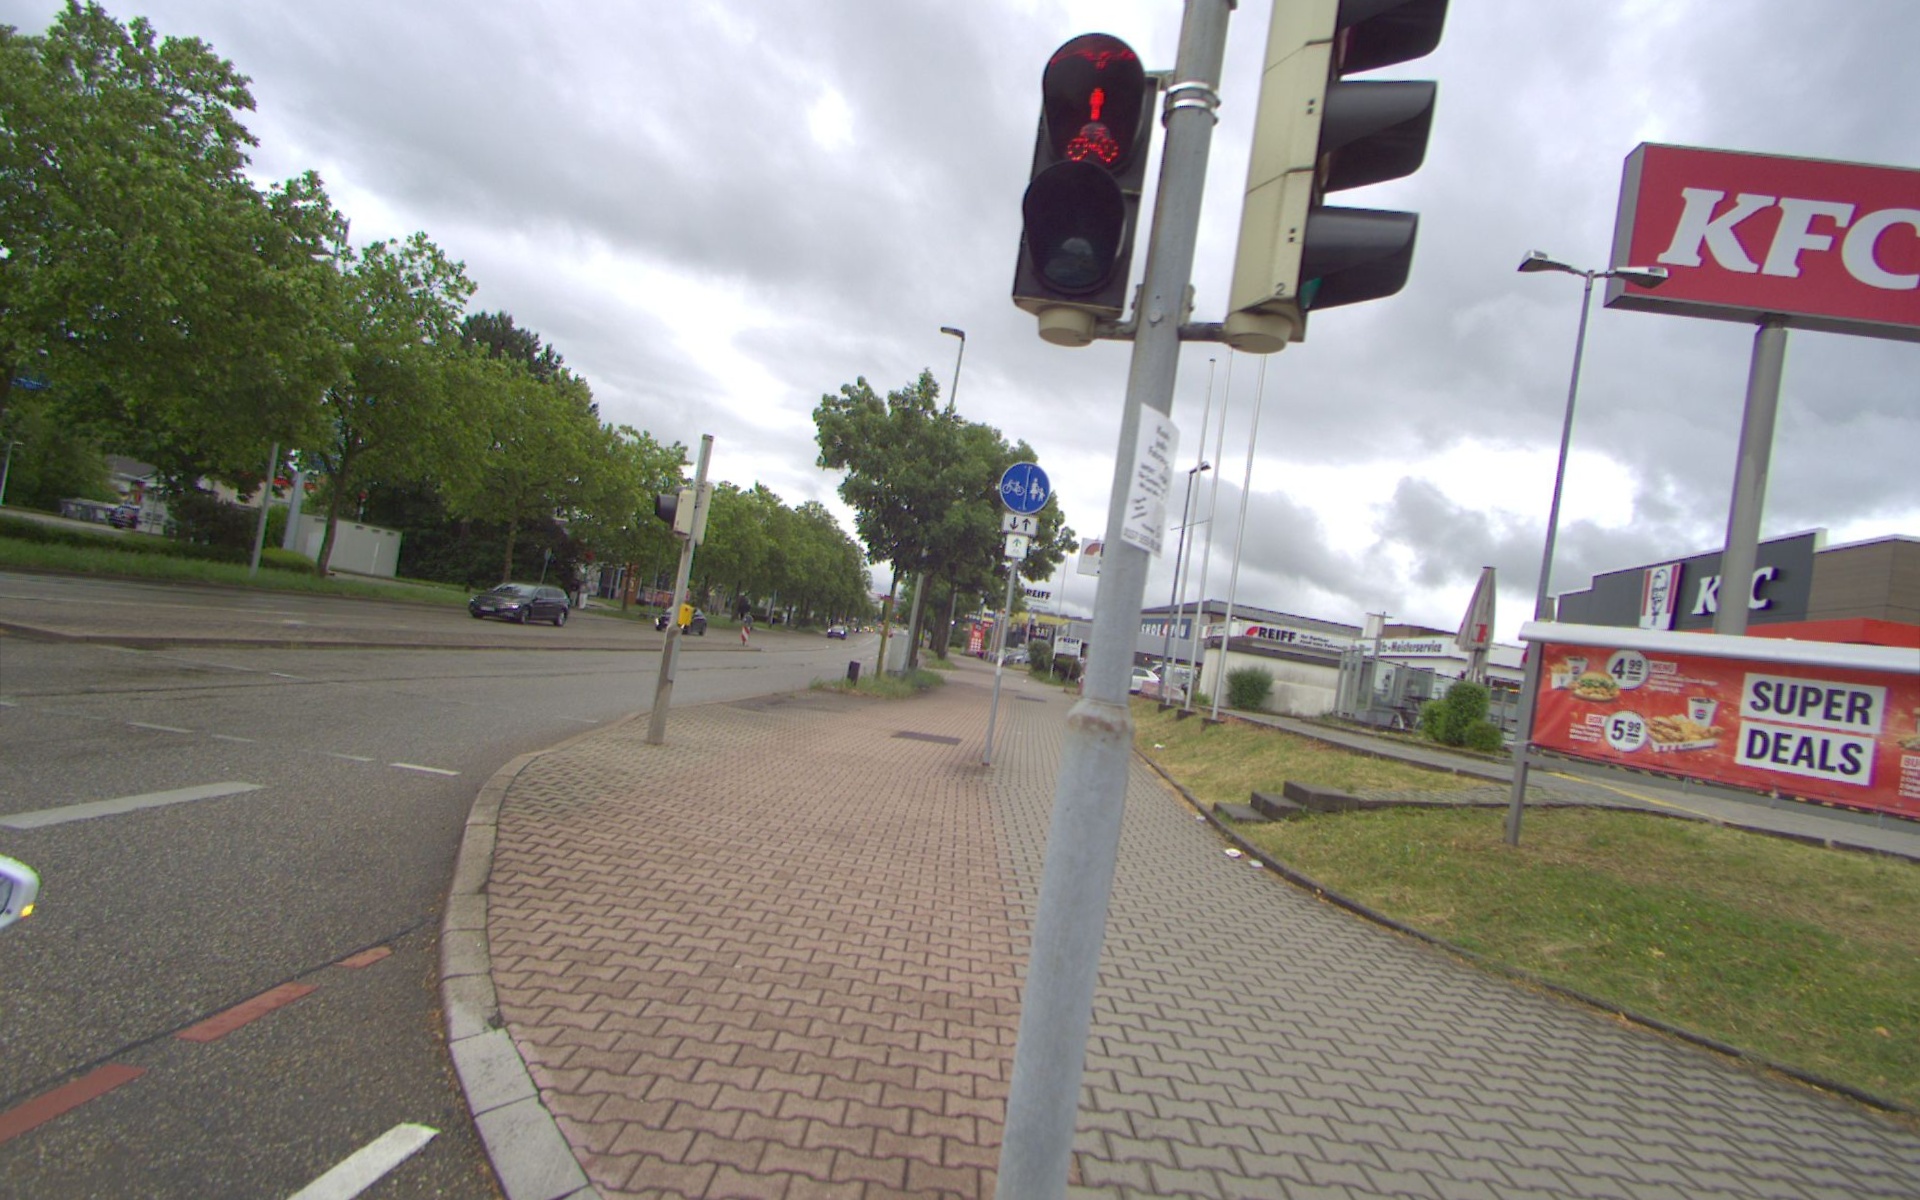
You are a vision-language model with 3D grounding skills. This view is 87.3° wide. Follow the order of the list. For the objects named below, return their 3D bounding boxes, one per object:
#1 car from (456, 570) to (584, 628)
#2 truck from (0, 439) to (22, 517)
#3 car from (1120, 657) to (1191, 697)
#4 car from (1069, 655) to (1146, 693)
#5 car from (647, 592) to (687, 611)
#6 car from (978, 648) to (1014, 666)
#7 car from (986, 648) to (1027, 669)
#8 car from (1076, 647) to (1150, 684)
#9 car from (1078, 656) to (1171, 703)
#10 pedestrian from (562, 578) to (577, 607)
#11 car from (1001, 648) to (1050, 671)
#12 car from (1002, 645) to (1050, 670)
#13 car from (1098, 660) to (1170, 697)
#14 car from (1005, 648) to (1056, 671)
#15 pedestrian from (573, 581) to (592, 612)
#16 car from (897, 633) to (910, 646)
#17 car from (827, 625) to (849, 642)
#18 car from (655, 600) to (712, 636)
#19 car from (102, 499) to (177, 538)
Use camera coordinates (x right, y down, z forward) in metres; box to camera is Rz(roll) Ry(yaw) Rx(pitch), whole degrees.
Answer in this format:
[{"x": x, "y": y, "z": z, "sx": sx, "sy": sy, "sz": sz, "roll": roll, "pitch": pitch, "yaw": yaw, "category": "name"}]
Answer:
[{"x": -15.523, "y": 0.036, "z": 35.824, "sx": 1.962, "sy": 1.525, "sz": 4.737, "roll": 8, "pitch": -3, "yaw": 5, "category": "car"}, {"x": -37.167, "y": -4.873, "z": 33.771, "sx": 2.122, "sy": 2.705, "sz": 7.856, "roll": 7, "pitch": -3, "yaw": 36, "category": "truck"}, {"x": 14.412, "y": 5.665, "z": 74.232, "sx": 4.585, "sy": 2.173, "sz": 1.966, "roll": 9, "pitch": -2, "yaw": -3, "category": "car"}, {"x": 8.117, "y": 4.075, "z": 55.395, "sx": 3.924, "sy": 1.539, "sz": 1.721, "roll": 7, "pitch": -2, "yaw": 13, "category": "car"}, {"x": -27.471, "y": 0.147, "z": 94.356, "sx": 3.127, "sy": 1.167, "sz": 1.292, "roll": 11, "pitch": -2, "yaw": 6, "category": "car"}, {"x": 3.956, "y": 6.296, "z": 111.396, "sx": 3.783, "sy": 1.622, "sz": 1.796, "roll": 6, "pitch": -2, "yaw": -2, "category": "car"}, {"x": 4.703, "y": 5.965, "z": 102.383, "sx": 3.928, "sy": 1.556, "sz": 1.801, "roll": 8, "pitch": -2, "yaw": -2, "category": "car"}, {"x": 9.502, "y": 4.073, "z": 62.566, "sx": 4.079, "sy": 1.682, "sz": 1.821, "roll": 7, "pitch": -1, "yaw": 22, "category": "car"}, {"x": 7.777, "y": 3.761, "z": 47.810, "sx": 4.109, "sy": 1.569, "sz": 1.892, "roll": 8, "pitch": -2, "yaw": 7, "category": "car"}, {"x": -24.299, "y": -0.472, "z": 62.635, "sx": 0.504, "sy": 1.702, "sz": 0.541, "roll": 8, "pitch": -1, "yaw": 0, "category": "pedestrian"}, {"x": 5.539, "y": 5.013, "z": 85.187, "sx": 3.925, "sy": 1.603, "sz": 1.813, "roll": 5, "pitch": -2, "yaw": 0, "category": "car"}, {"x": 5.696, "y": 5.006, "z": 87.587, "sx": 3.925, "sy": 1.807, "sz": 1.813, "roll": 4, "pitch": -2, "yaw": 0, "category": "car"}, {"x": 9.987, "y": 4.474, "z": 57.648, "sx": 3.865, "sy": 1.540, "sz": 1.735, "roll": 7, "pitch": -2, "yaw": 13, "category": "car"}, {"x": 5.769, "y": 4.852, "z": 82.686, "sx": 3.925, "sy": 1.561, "sz": 1.813, "roll": 4, "pitch": -2, "yaw": 0, "category": "car"}, {"x": -23.586, "y": -0.233, "z": 62.833, "sx": 0.654, "sy": 1.786, "sz": 0.584, "roll": 9, "pitch": -1, "yaw": 21, "category": "pedestrian"}, {"x": -9.518, "y": 6.659, "z": 169.750, "sx": 1.719, "sy": 2.036, "sz": 4.003, "roll": 8, "pitch": -3, "yaw": -1, "category": "car"}, {"x": -13.805, "y": 3.774, "z": 113.934, "sx": 1.784, "sy": 1.578, "sz": 4.604, "roll": 8, "pitch": -3, "yaw": 0, "category": "car"}, {"x": -14.242, "y": 0.949, "z": 51.987, "sx": 1.618, "sy": 1.525, "sz": 3.897, "roll": 8, "pitch": -3, "yaw": 1, "category": "car"}, {"x": -53.231, "y": -5.240, "z": 65.365, "sx": 1.969, "sy": 1.858, "sz": 3.993, "roll": 8, "pitch": -2, "yaw": -13, "category": "car"}]
